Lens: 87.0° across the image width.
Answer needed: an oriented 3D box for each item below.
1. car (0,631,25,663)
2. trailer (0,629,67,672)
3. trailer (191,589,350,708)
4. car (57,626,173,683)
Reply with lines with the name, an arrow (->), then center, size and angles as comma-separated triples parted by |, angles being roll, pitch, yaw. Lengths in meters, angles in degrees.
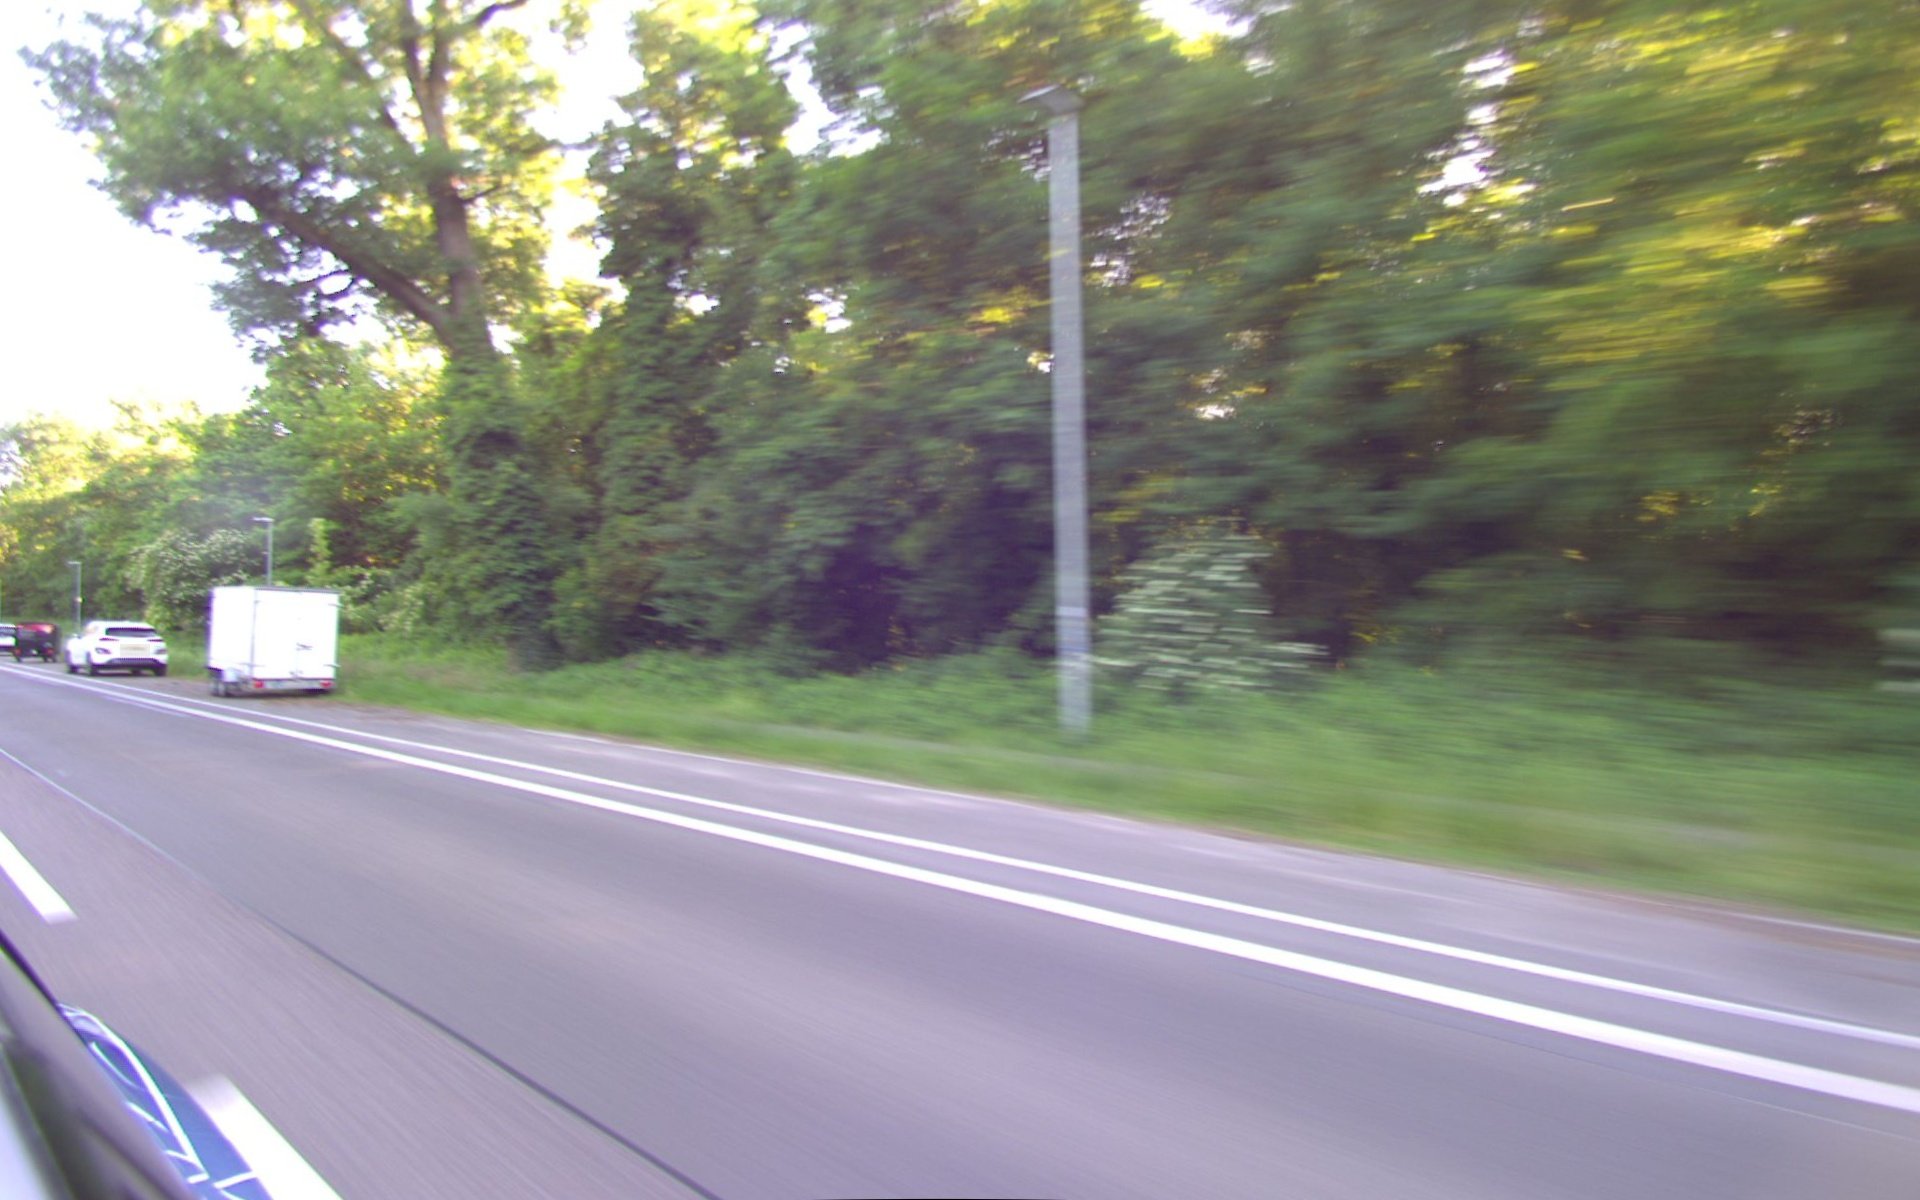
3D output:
car -> -46.185, 2.222, 48.272 | 4.068, 1.462, 1.847 | -2, -4, 41
trailer -> -36.242, 1.941, 39.623 | 1.376, 1.586, 2.682 | 0, -2, -29
trailer -> -14.788, 1.004, 21.659 | 3.486, 2.311, 2.052 | -2, -3, 43
car -> -25.148, 1.612, 30.086 | 4.202, 1.583, 1.796 | -2, -4, 39
